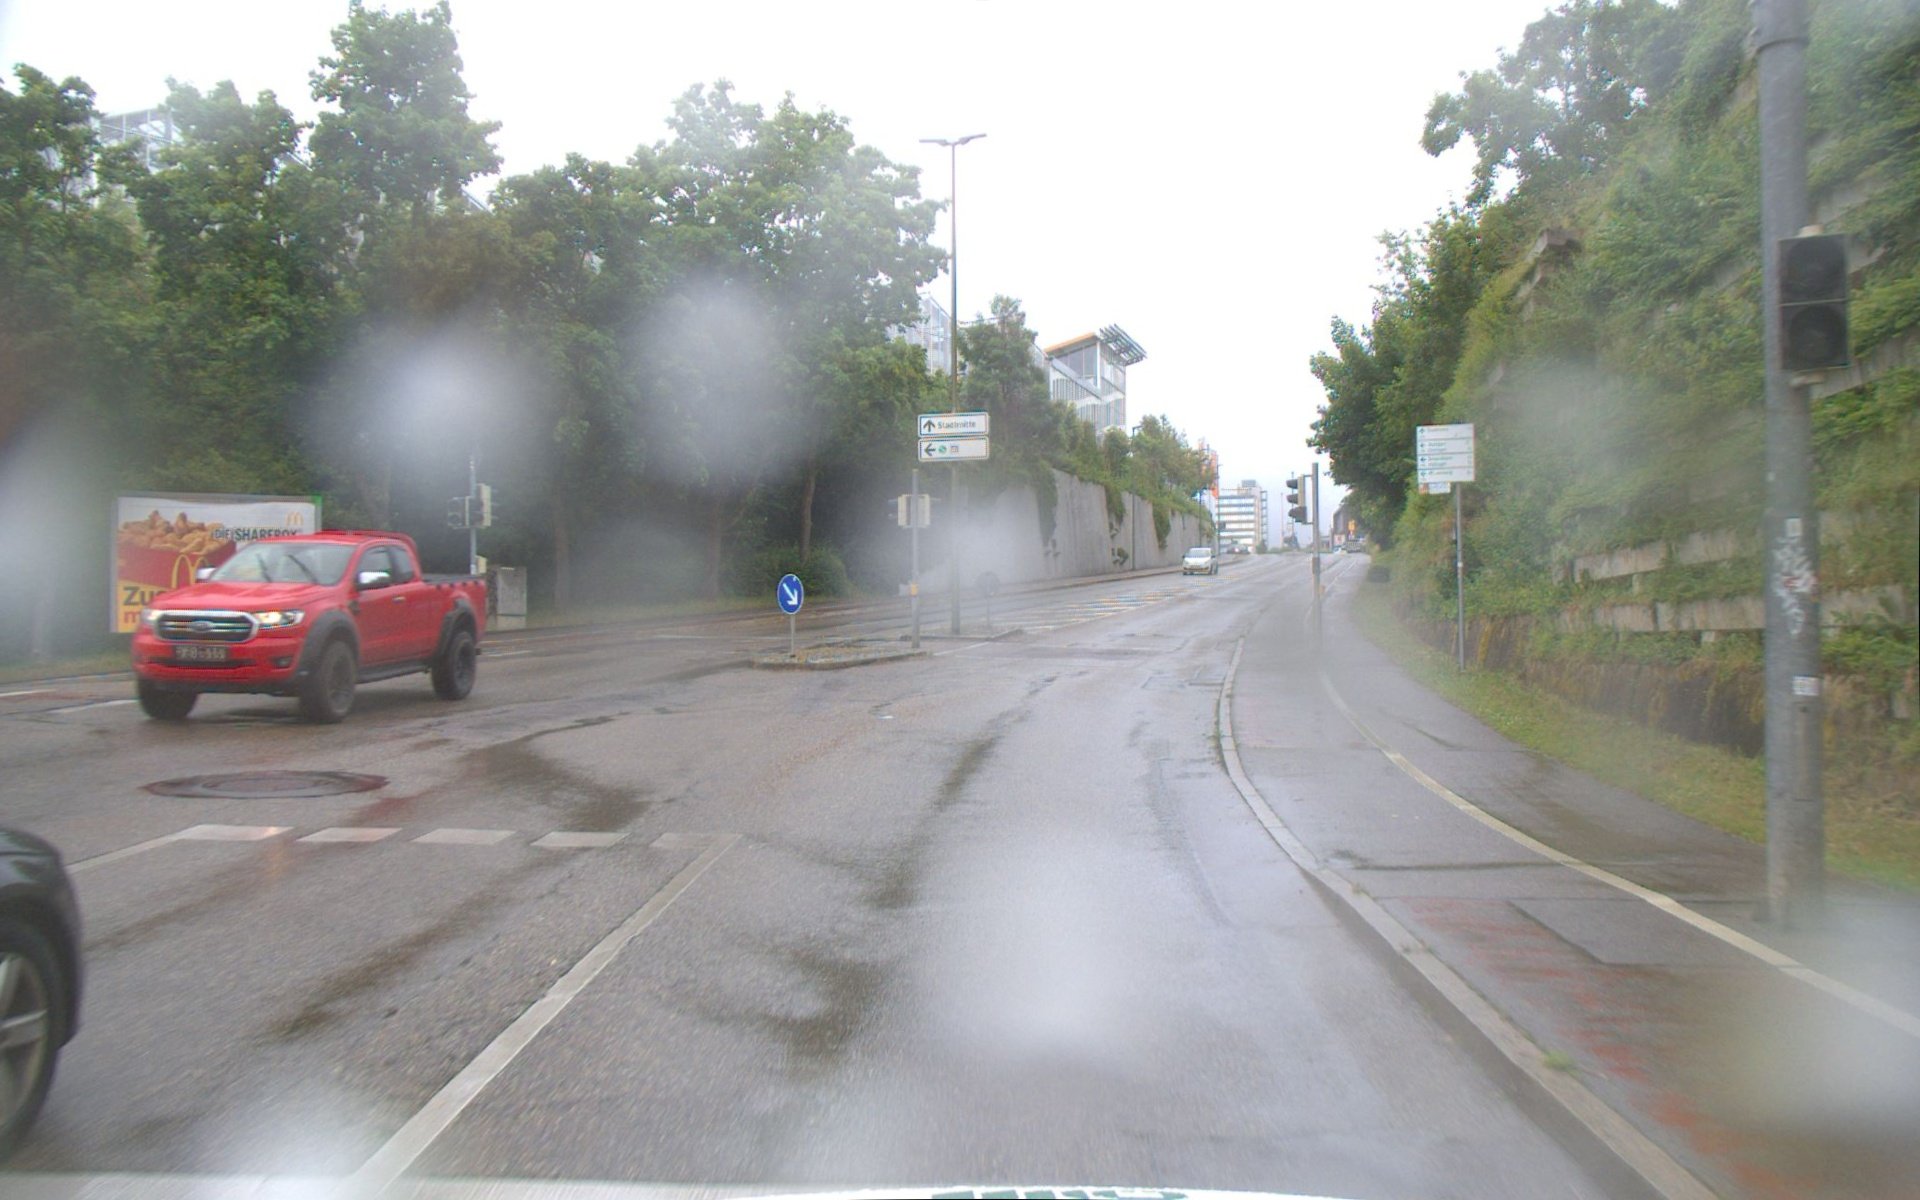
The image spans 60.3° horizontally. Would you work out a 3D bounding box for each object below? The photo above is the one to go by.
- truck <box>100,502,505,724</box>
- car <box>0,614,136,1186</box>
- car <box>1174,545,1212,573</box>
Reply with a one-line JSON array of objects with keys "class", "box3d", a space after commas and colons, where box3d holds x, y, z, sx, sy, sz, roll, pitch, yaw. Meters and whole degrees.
[{"class": "truck", "box3d": [-6.882, 0.088, 18.106, 1.951, 2.049, 5.341, 1, 1, 4]}, {"class": "car", "box3d": [-3.210, 0.739, 2.782, 1.719, 1.420, 3.999, 1, 0, -2]}, {"class": "car", "box3d": [13.094, -2.295, 93.064, 1.482, 1.474, 3.815, 0, 0, -1]}]
